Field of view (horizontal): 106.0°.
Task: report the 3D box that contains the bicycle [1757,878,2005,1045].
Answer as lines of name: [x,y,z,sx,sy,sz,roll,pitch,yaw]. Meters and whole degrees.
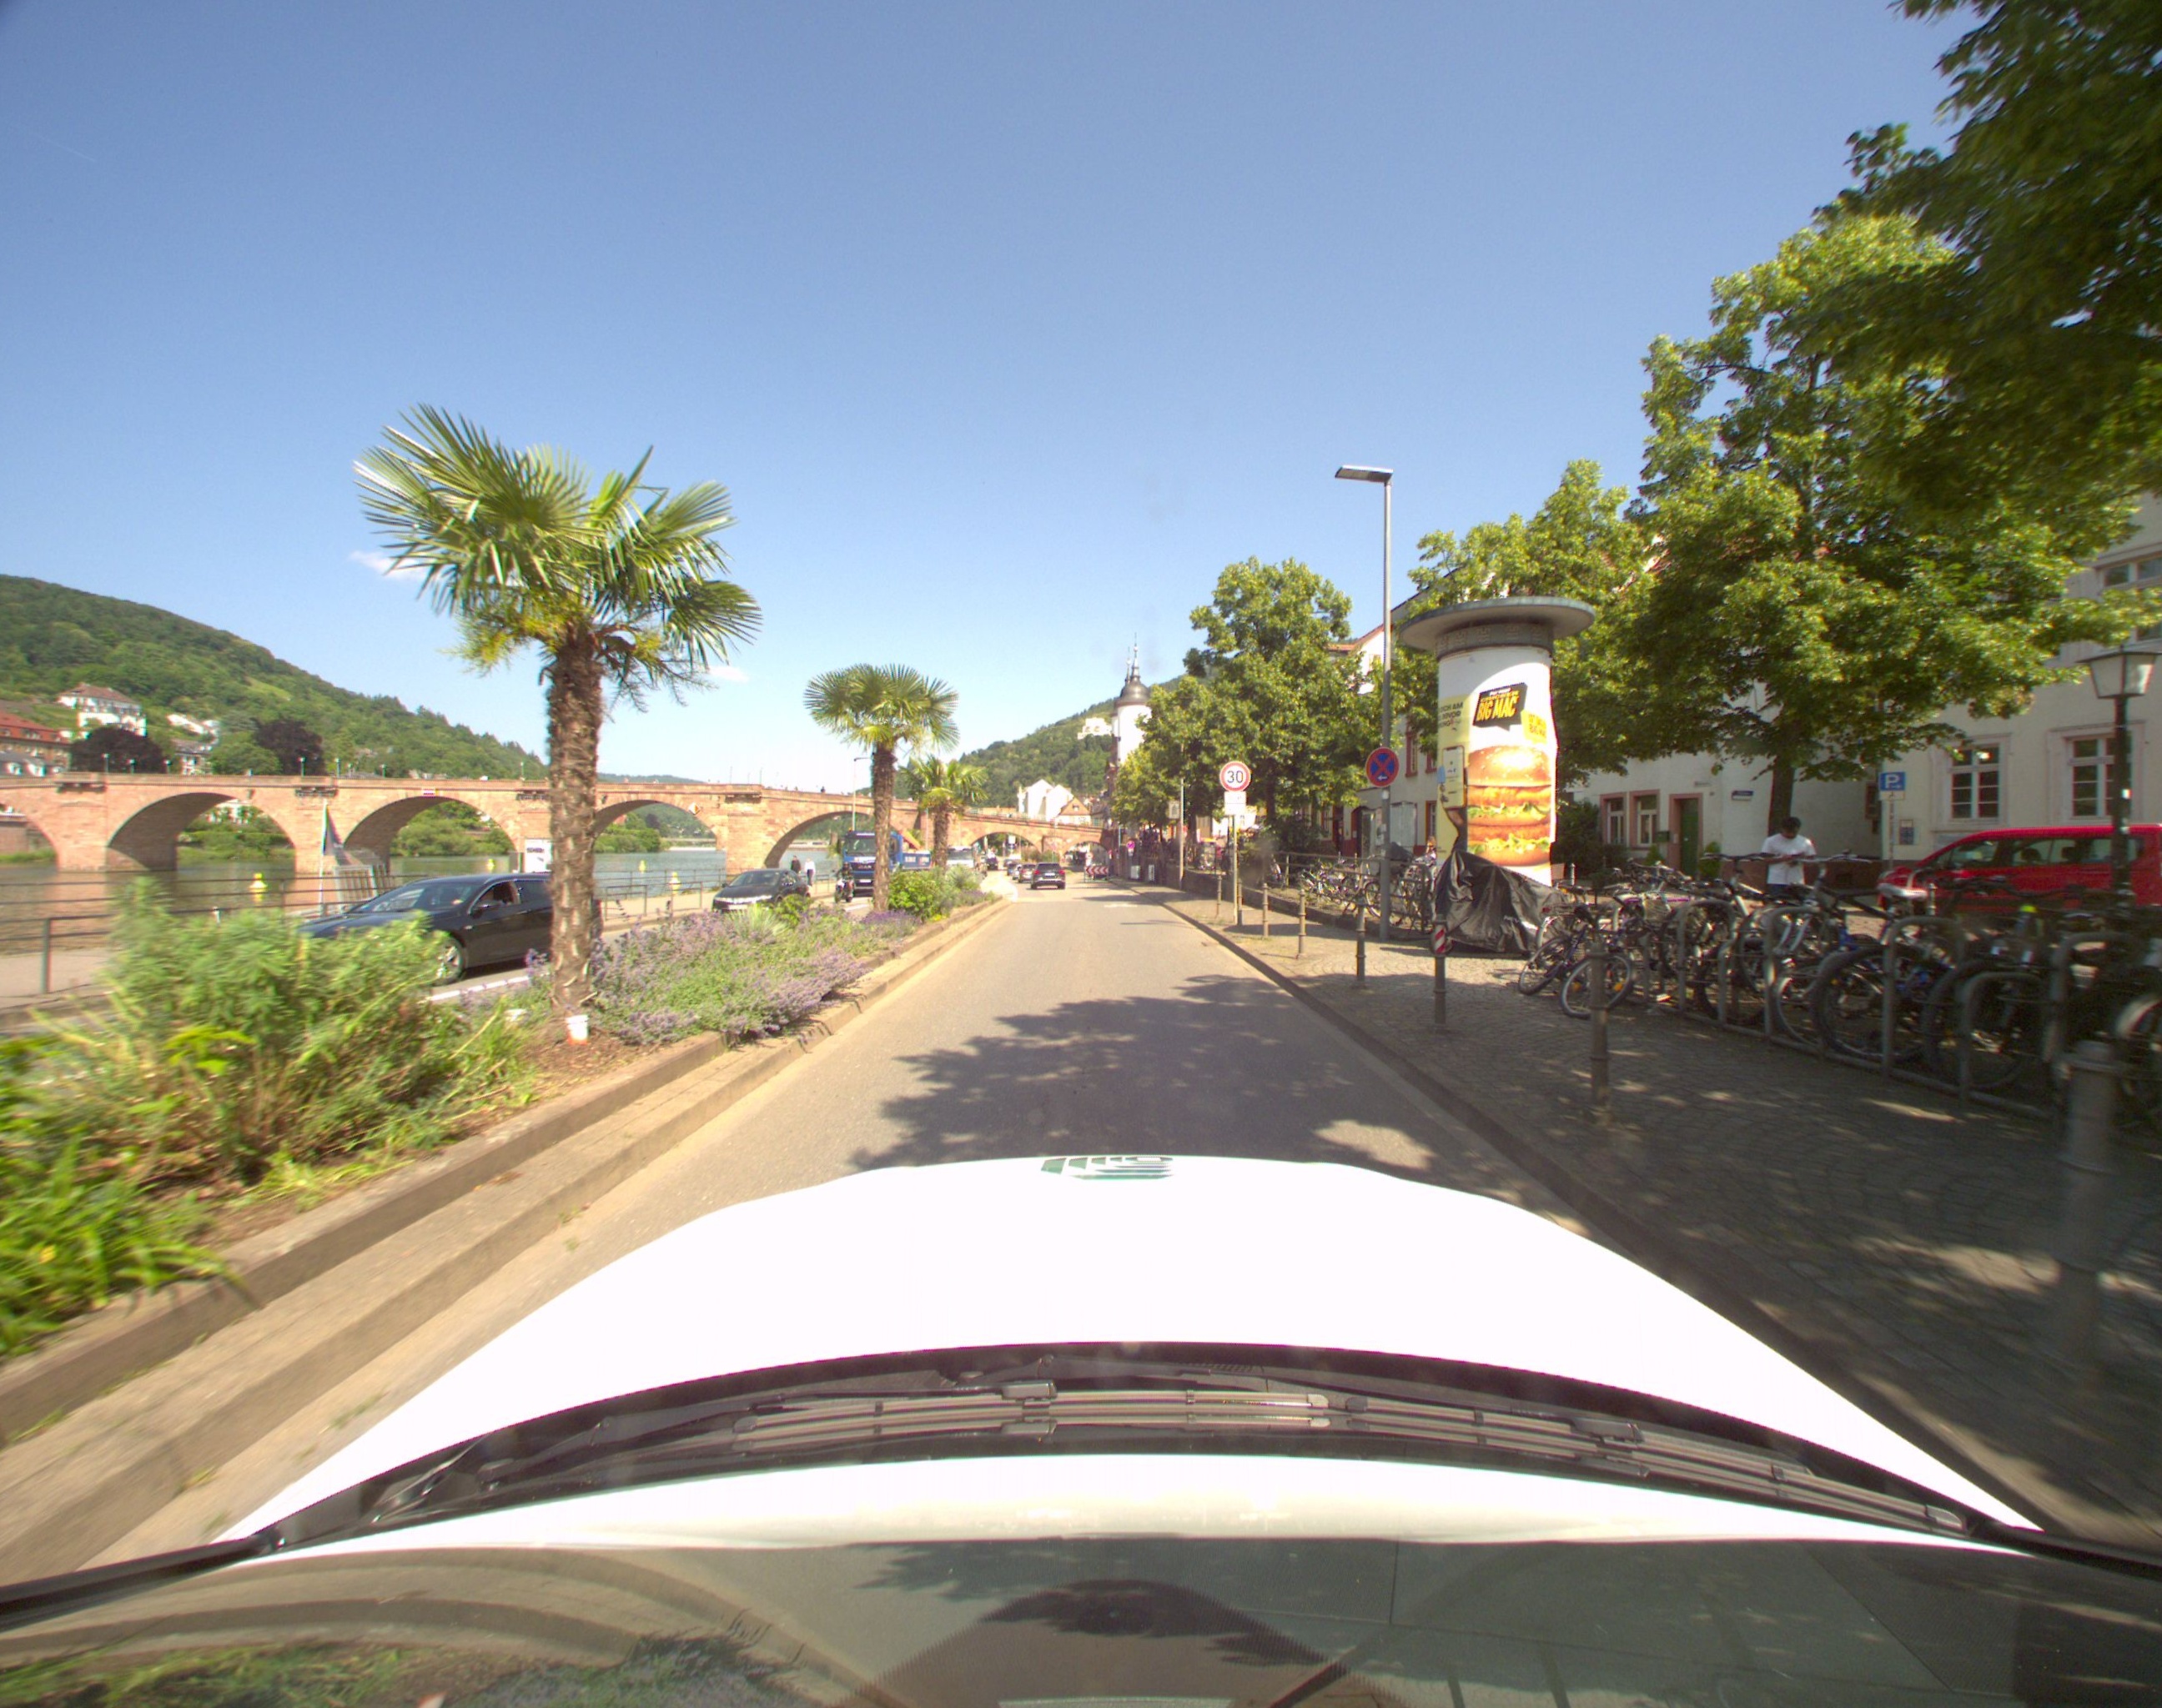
bicycle: [5.330,0.697,5.435,1.482,1.032,0.293,-1,0,-6]

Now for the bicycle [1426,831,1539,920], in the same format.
bicycle: [6.788,0.364,13.783,1.821,1.483,0.269,0,0,-3]

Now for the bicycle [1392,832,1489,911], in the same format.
bicycle: [6.880,0.326,15.600,1.769,1.483,0.269,0,0,-3]

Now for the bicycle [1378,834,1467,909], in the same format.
bicycle: [6.879,0.347,16.425,1.702,1.483,0.269,0,0,-3]

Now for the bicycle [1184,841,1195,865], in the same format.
bicycle: [5.024,-0.044,37.711,0.249,1.096,1.488,2,0,0]

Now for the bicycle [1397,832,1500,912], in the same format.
bicycle: [6.877,0.327,15.262,1.825,1.483,0.285,0,0,-3]

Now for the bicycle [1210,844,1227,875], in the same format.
bicycle: [5.024,0.205,29.809,0.344,1.096,1.488,2,0,0]

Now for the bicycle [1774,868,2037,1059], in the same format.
bicycle: [5.194,0.667,5.140,1.482,1.120,0.293,-1,0,-6]

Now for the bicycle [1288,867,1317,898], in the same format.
bicycle: [5.201,0.662,19.154,0.249,0.664,1.468,0,0,-1]

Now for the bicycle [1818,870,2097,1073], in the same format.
bicycle: [5.208,0.672,4.850,1.482,1.120,0.293,-1,0,-6]

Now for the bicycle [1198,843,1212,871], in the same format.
bicycle: [5.064,0.102,33.380,0.274,1.096,1.488,-4,0,0]

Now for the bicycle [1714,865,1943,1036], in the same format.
bicycle: [5.202,0.649,5.674,1.482,1.120,0.250,-1,0,-6]

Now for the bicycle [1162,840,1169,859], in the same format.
bicycle: [5.044,-0.271,48.422,0.354,1.096,1.491,2,0,5]

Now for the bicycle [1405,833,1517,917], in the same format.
bicycle: [6.840,0.373,14.670,1.920,1.483,0.281,0,0,-3]

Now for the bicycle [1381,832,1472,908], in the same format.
bicycle: [6.840,0.310,16.144,1.718,1.483,0.269,0,0,-3]

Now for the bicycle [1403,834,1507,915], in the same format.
bicycle: [6.860,0.371,14.959,1.821,1.483,0.269,0,0,-3]

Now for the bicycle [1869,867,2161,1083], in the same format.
bicycle: [5.231,0.647,4.553,1.482,1.120,0.293,-1,0,-6]

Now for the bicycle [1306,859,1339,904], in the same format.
bicycle: [5.207,0.579,17.600,0.249,0.904,1.488,0,0,-1]

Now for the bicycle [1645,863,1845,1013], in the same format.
bicycle: [5.262,0.647,6.461,1.482,1.120,0.250,-1,0,-6]

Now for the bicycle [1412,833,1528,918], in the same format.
bicycle: [6.860,0.375,14.368,1.920,1.483,0.311,0,0,-3]

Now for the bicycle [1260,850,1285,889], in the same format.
bicycle: [5.213,0.408,22.199,0.249,1.000,1.488,2,0,-2]

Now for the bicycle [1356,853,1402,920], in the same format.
bicycle: [5.276,0.548,14.472,0.249,1.120,1.488,0,0,-1]

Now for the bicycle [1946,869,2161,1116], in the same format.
bicycle: [5.188,0.647,4.054,1.482,1.120,0.377,-1,0,-6]

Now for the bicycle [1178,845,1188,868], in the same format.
bicycle: [4.994,0.123,39.800,0.249,1.096,1.488,2,0,0]

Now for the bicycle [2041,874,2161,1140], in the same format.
bicycle: [5.217,0.652,3.673,1.480,1.120,0.294,-1,0,-2]

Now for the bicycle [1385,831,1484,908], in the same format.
bicycle: [6.881,0.295,15.858,1.821,1.483,0.269,0,0,-3]

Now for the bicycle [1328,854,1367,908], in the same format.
bicycle: [5.225,0.510,16.012,0.249,1.010,1.488,0,0,-1]

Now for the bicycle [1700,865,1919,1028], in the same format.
bicycle: [5.313,0.655,5.946,1.482,1.120,0.250,-1,0,-6]

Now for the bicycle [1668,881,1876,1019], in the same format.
bicycle: [5.269,0.716,6.215,1.482,0.979,0.250,-1,0,-6]

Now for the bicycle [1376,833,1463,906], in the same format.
bicycle: [6.943,0.316,16.720,1.702,1.483,0.269,0,0,-3]

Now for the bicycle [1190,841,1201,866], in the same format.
bicycle: [5.030,-0.019,35.784,0.249,1.096,1.488,2,0,0]
